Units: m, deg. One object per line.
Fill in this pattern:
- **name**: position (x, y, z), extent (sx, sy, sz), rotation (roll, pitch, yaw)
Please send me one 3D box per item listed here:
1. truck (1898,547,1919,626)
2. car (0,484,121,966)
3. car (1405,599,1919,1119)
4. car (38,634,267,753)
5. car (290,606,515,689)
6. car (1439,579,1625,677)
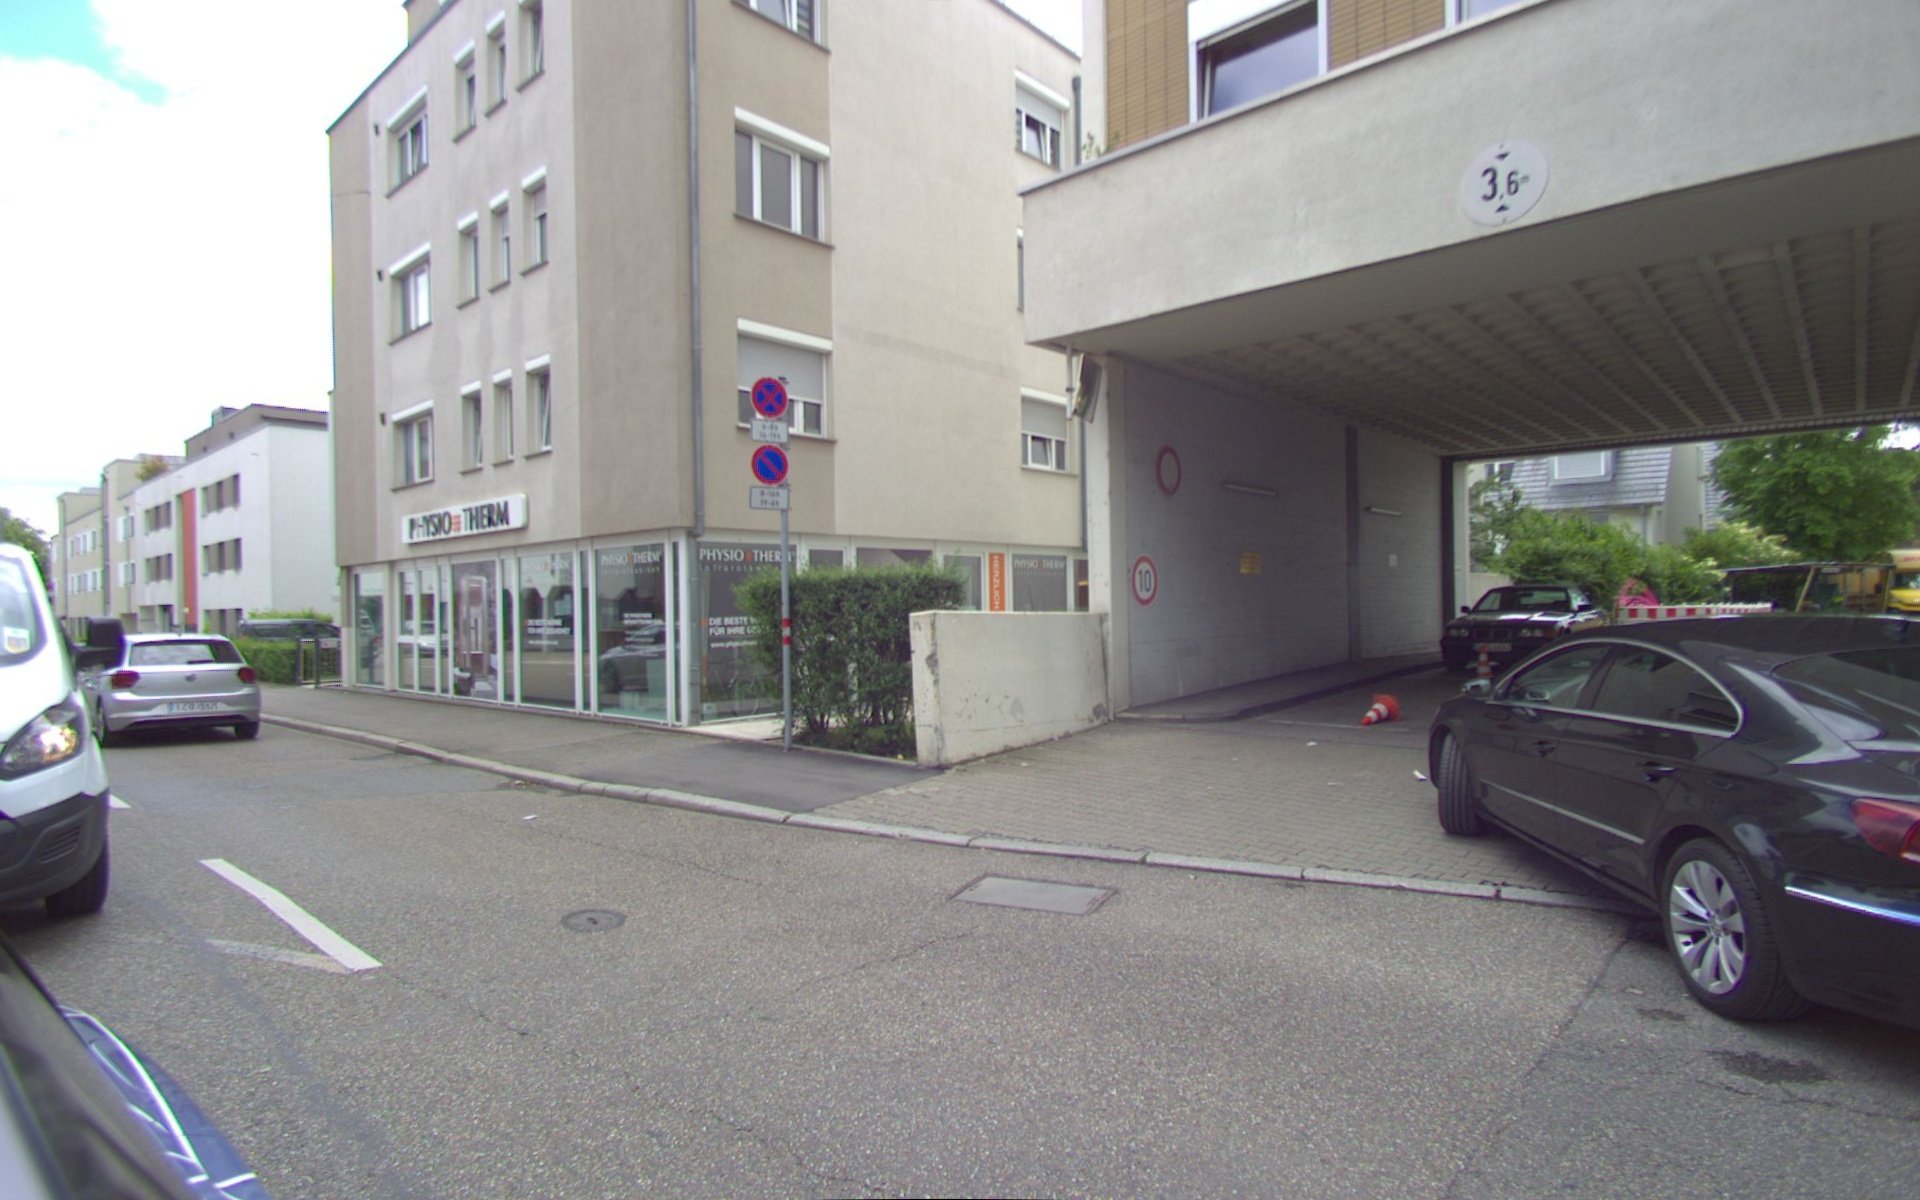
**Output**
- **truck**: position (36.753, -0.594, 37.735), extent (7.185, 2.772, 2.002), rotation (-2, 0, -43)
- **car**: position (-6.302, 0.583, 5.451), extent (5.084, 2.013, 1.939), rotation (-2, -1, 41)
- **car**: position (3.638, 0.718, 4.572), extent (1.637, 1.409, 4.446), rotation (-1, 0, 6)
- **car**: position (-11.386, 1.207, 14.181), extent (3.998, 1.428, 1.780), rotation (-2, -3, 41)
- **car**: position (-15.020, 1.200, 27.489), extent (1.967, 2.013, 5.013), rotation (-2, -1, 44)
- **car**: position (9.155, 0.372, 16.017), extent (1.624, 1.333, 4.391), rotation (-2, 0, 42)
